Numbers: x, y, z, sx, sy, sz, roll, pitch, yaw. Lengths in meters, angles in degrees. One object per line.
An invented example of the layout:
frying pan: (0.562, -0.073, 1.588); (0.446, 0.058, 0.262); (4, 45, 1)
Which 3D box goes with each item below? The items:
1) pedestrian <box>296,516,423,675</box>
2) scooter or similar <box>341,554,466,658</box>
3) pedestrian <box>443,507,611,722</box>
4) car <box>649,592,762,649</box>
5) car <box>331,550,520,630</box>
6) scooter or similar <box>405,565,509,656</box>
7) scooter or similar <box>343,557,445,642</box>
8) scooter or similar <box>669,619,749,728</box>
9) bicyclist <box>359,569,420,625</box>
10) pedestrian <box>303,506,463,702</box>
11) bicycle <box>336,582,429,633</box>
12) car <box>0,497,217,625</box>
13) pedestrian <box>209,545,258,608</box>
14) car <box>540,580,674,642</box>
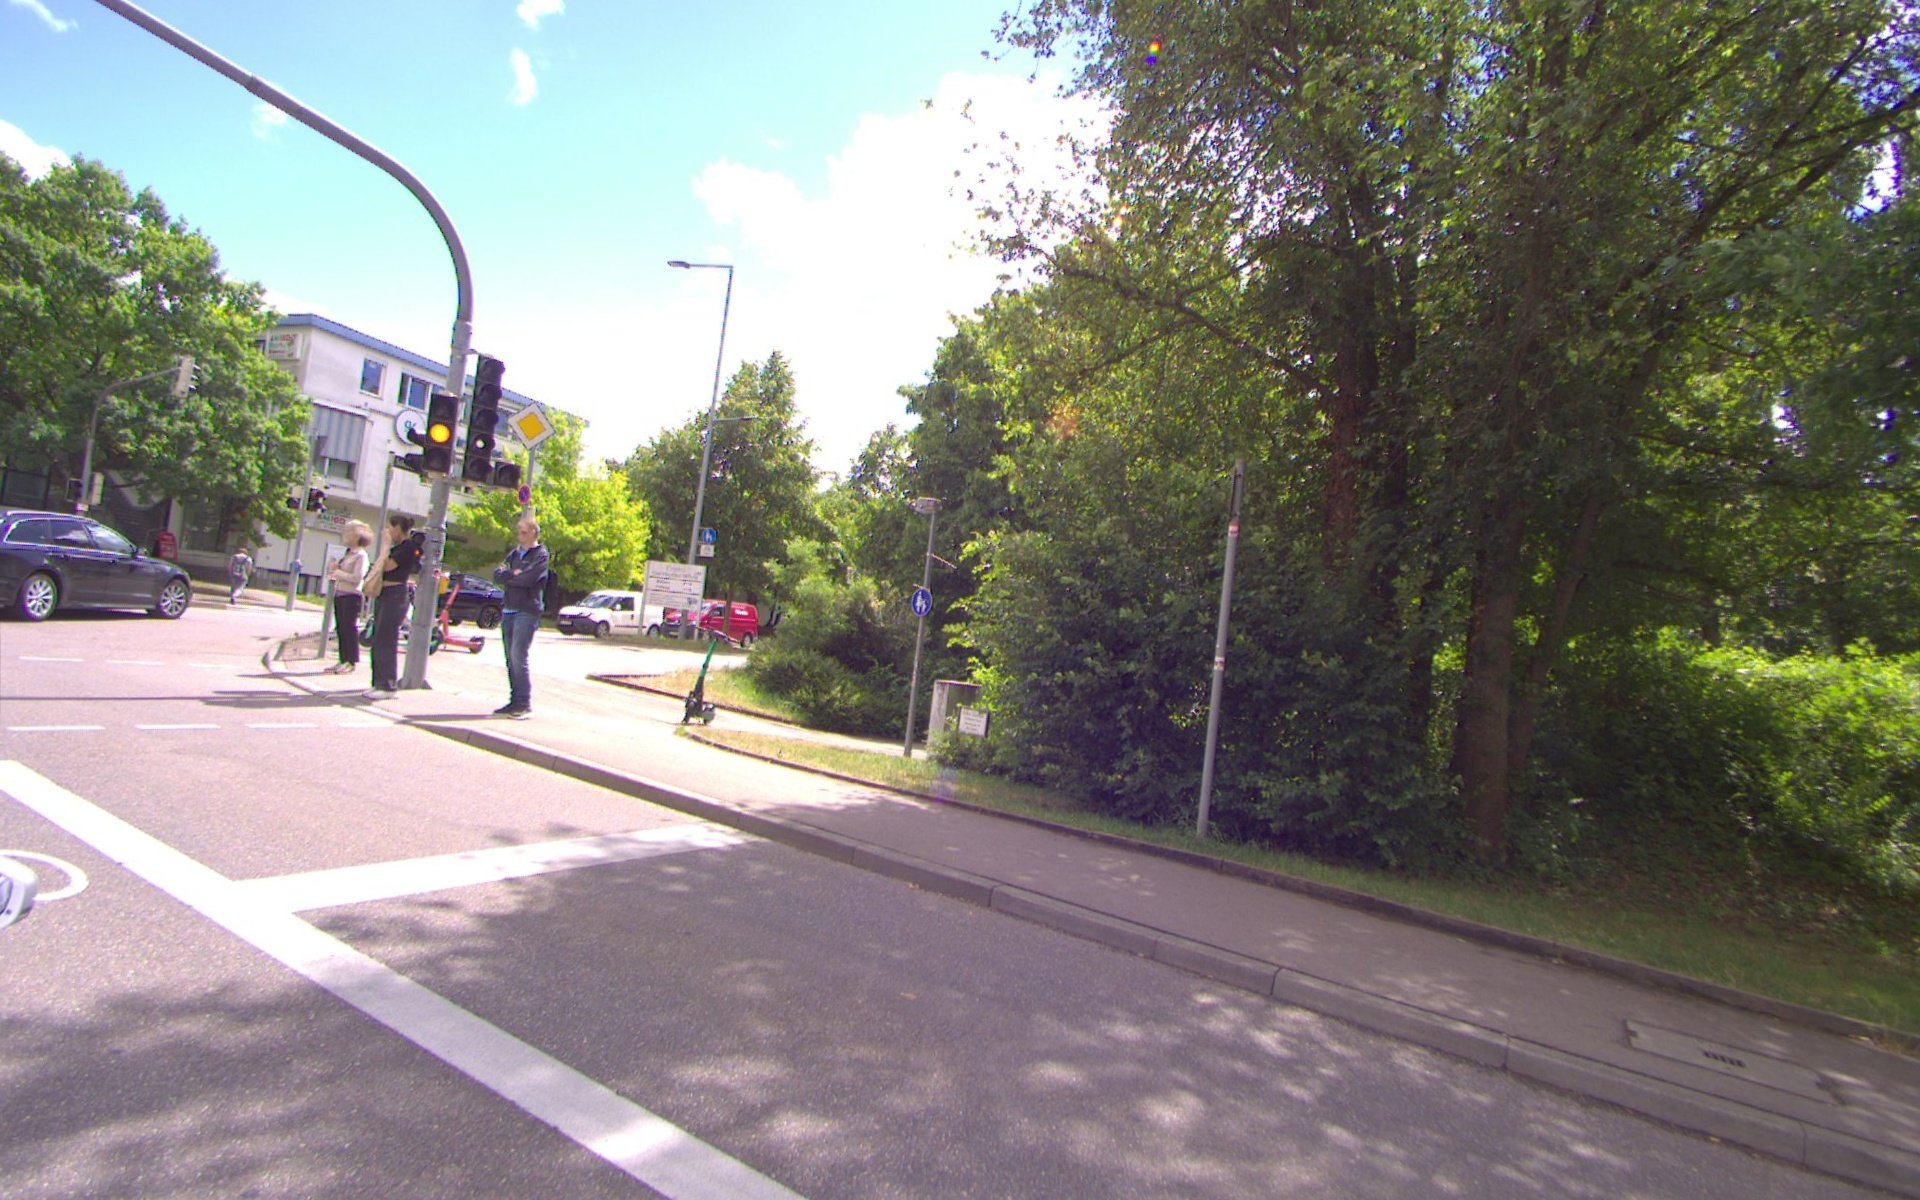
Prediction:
pedestrian: (-6.923, -0.051, 11.597); (0.950, 1.694, 0.860); (7, -1, -43)
scooter or similar: (-7.881, 0.100, 14.280); (0.455, 1.292, 1.344); (8, -1, 38)
pedestrian: (-4.294, 0.162, 10.015); (0.881, 1.964, 0.968); (7, -1, 28)
car: (-10.612, 0.900, 42.357); (1.964, 1.885, 4.822); (5, -3, 23)
car: (-15.802, -0.235, 30.011); (1.964, 1.737, 4.574); (7, -2, 25)
scooter or similar: (-7.931, 0.189, 15.912); (0.547, 1.254, 1.231); (8, -3, 23)
scooter or similar: (-8.941, 0.025, 15.944); (0.533, 1.168, 1.362); (9, -3, 7)
scooter or similar: (-3.344, 1.002, 13.526); (0.706, 1.287, 1.243); (10, -7, -7)
bicyclist: (-11.964, -0.062, 21.097); (0.625, 1.034, 0.794); (7, -2, 28)
pedestrian: (-5.708, 0.055, 9.986); (0.758, 1.787, 0.936); (7, 0, 20)
bicycle: (-12.164, 0.152, 21.187); (1.776, 0.828, 0.794); (7, -2, 28)
car: (-13.024, -0.564, 14.167); (1.965, 1.571, 4.520); (7, -2, -6)
pedestrian: (-21.085, -0.685, 29.195); (0.894, 1.662, 0.768); (6, -2, 39)
car: (-12.936, 0.467, 37.231); (1.963, 1.737, 4.576); (7, -2, 23)
